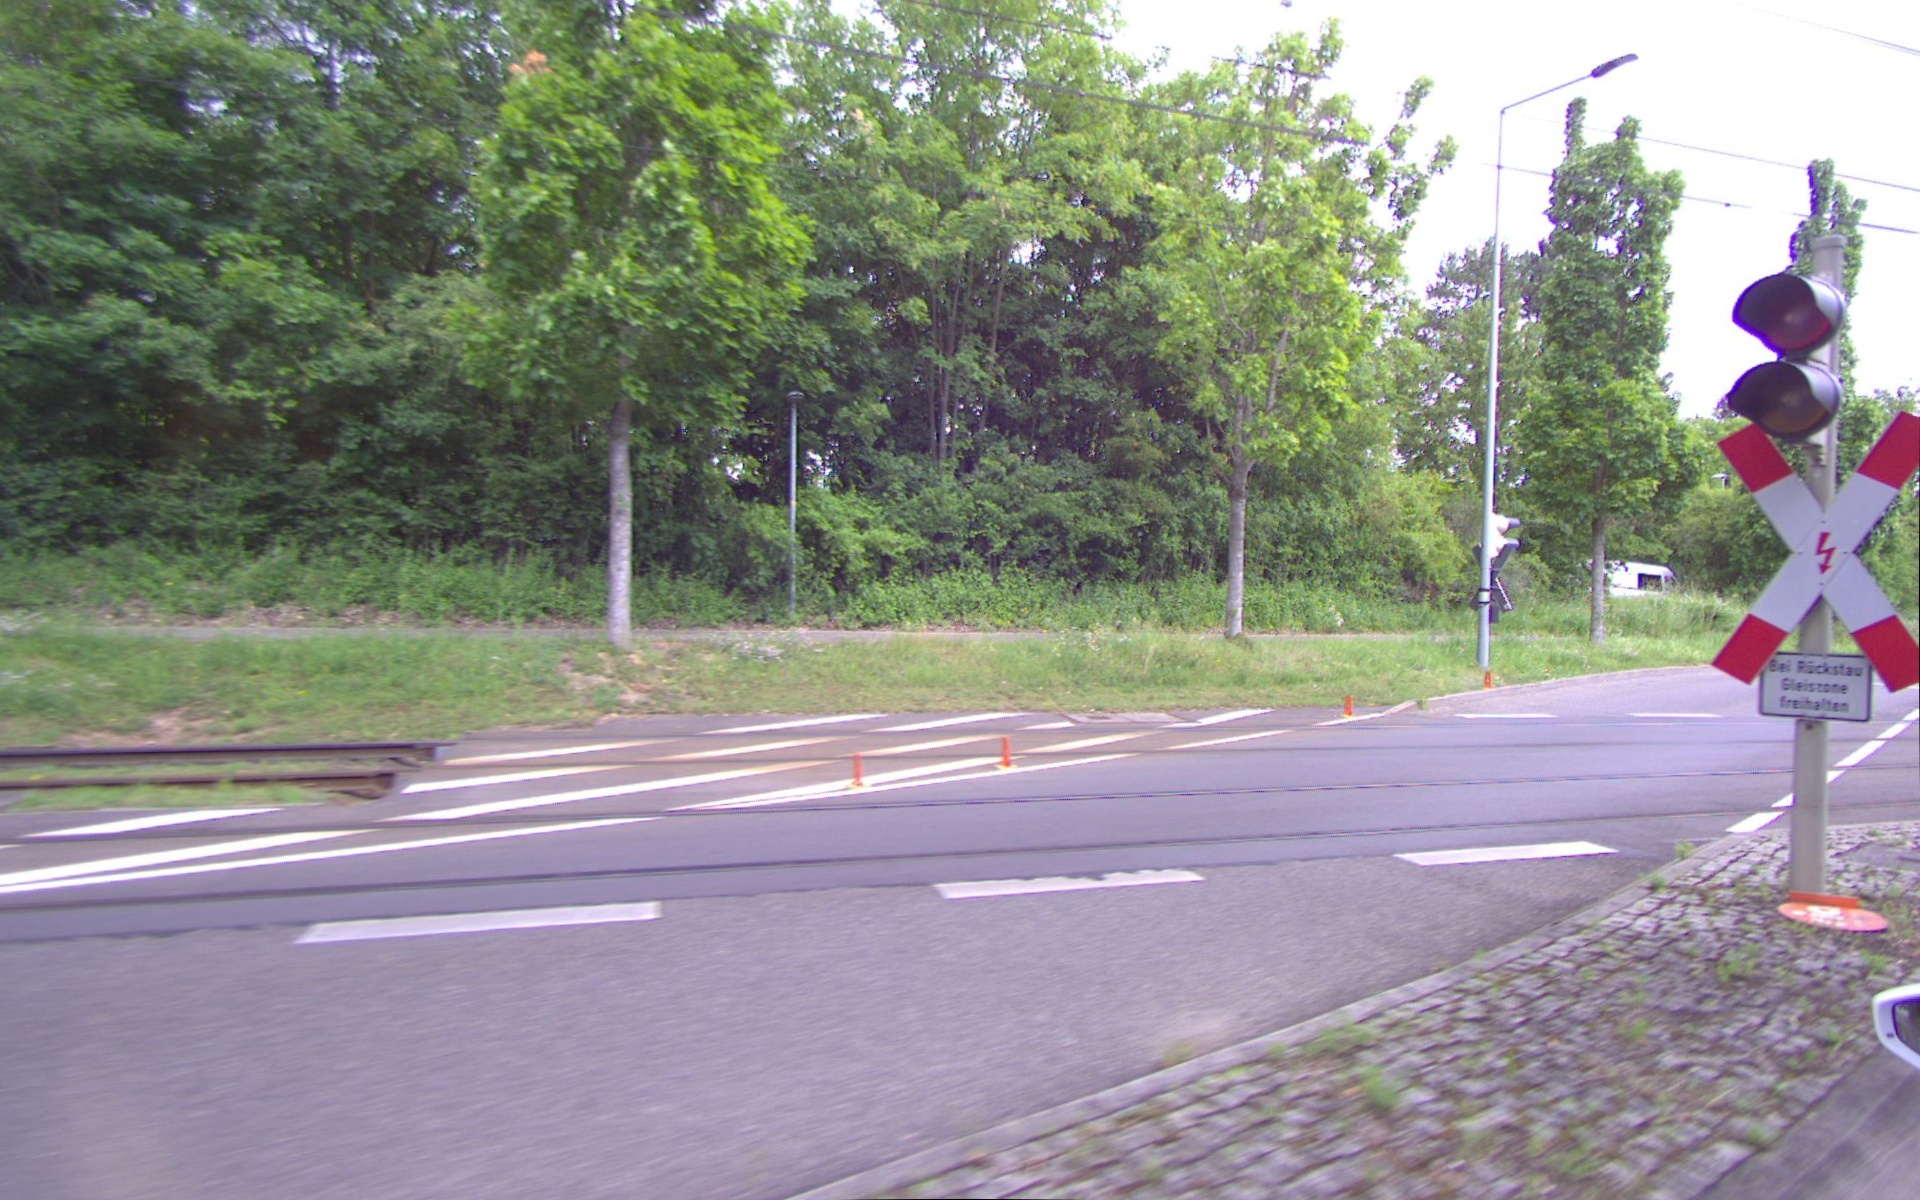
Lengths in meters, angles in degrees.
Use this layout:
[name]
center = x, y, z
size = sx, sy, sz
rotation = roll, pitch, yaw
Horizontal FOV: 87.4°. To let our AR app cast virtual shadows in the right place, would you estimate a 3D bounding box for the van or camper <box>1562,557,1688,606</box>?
[van or camper]
center = 27.764, -0.764, 41.958
size = 4.558, 1.902, 1.991
rotation = 1, 1, -19
